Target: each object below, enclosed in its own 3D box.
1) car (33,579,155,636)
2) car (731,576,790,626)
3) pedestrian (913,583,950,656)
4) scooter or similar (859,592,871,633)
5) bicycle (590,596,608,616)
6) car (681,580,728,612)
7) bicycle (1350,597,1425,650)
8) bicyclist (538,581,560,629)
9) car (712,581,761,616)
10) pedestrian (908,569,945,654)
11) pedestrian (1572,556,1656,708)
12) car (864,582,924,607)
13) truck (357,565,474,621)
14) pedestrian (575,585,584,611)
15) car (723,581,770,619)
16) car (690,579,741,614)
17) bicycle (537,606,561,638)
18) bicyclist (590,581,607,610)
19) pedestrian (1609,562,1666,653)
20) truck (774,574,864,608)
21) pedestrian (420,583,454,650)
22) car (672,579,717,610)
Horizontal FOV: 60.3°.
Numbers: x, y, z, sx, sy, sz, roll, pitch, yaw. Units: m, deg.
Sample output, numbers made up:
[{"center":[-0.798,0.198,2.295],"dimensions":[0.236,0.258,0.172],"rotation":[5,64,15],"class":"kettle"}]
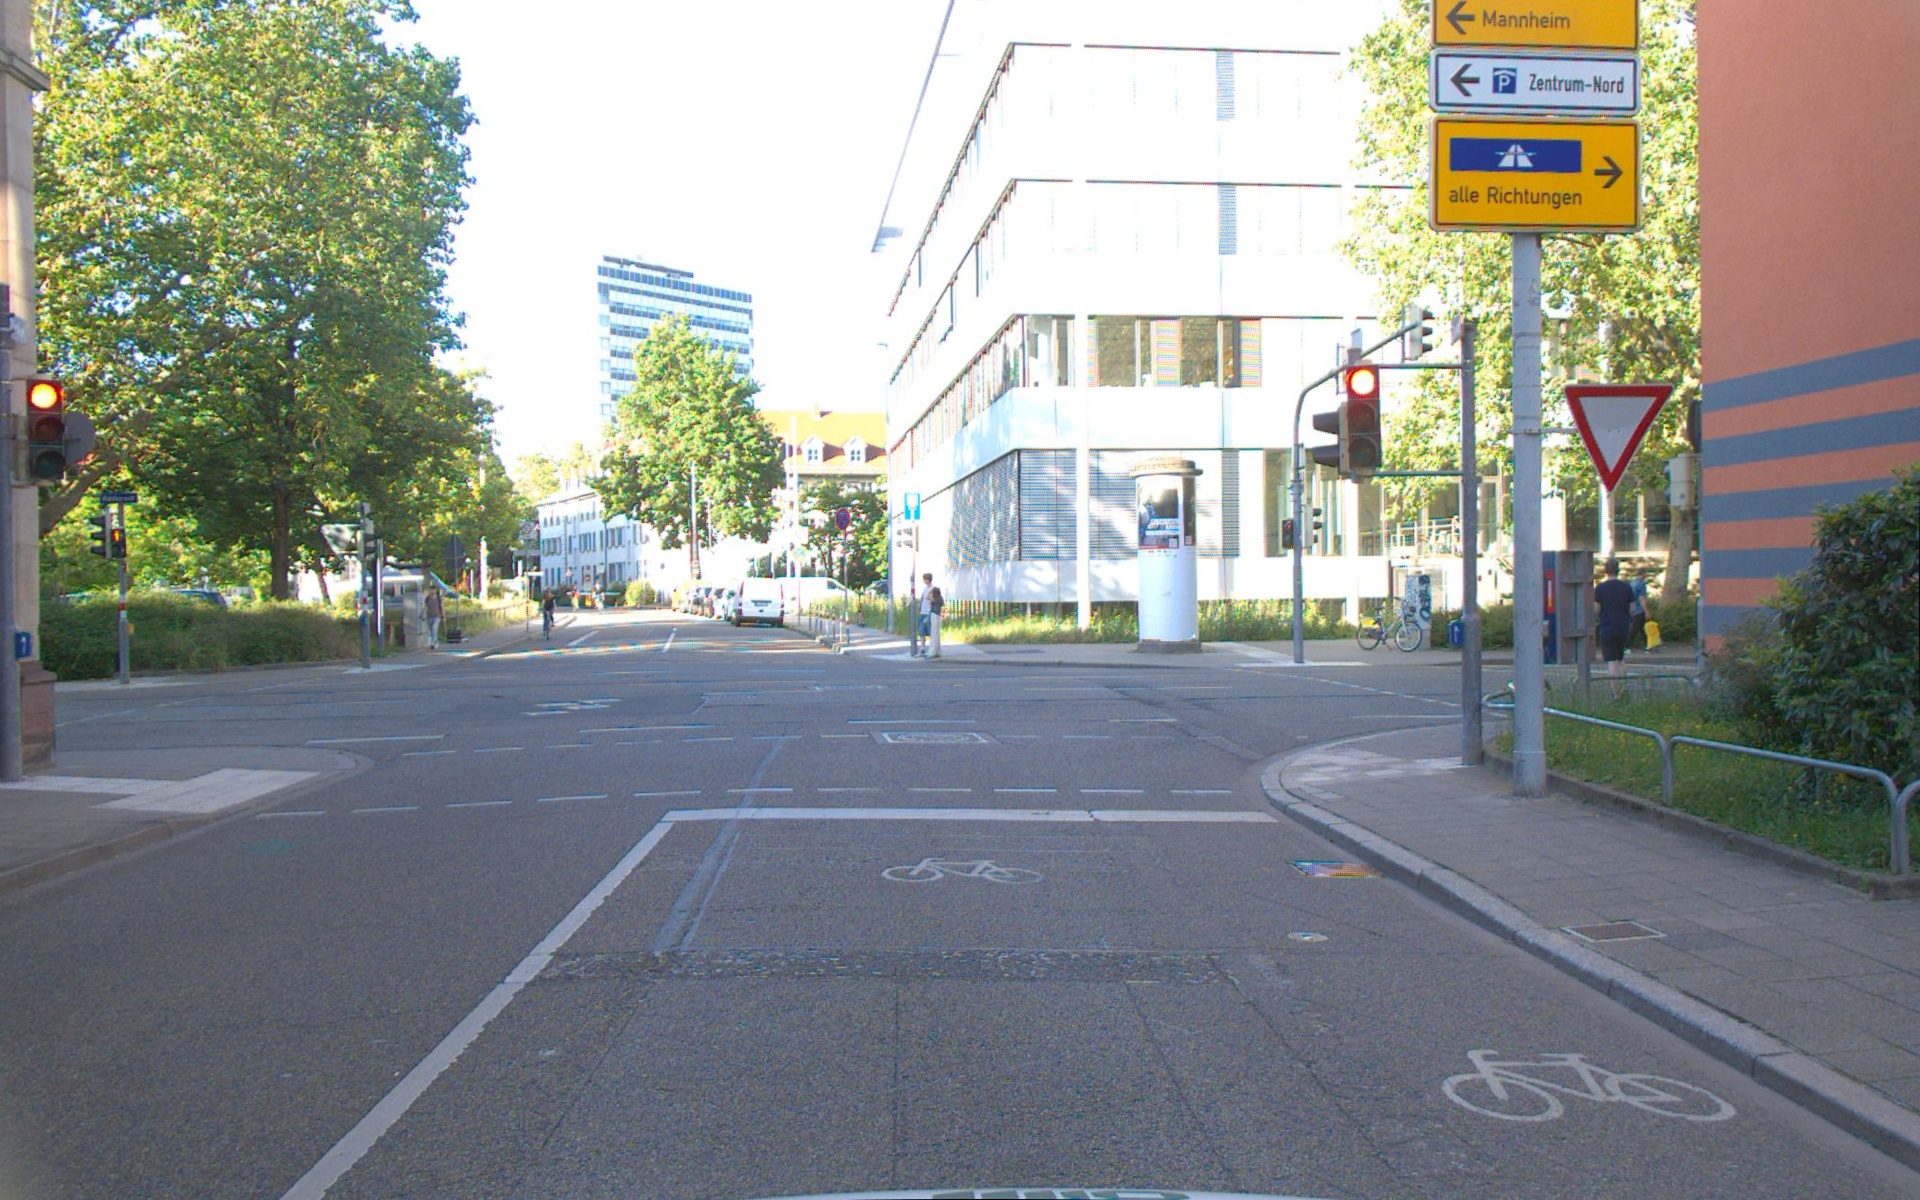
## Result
[{"center":[-39.975,0.330,76.459],"dimensions":[4.472,2.433,2.069],"rotation":[-2,0,-10],"class":"car"},{"center":[-7.840,-0.008,64.593],"dimensions":[2.047,1.827,4.404],"rotation":[0,1,-10],"class":"car"},{"center":[-0.645,0.433,37.203],"dimensions":[0.551,1.567,0.673],"rotation":[-4,1,-19],"class":"pedestrian"},{"center":[-3.364,0.441,58.529],"dimensions":[0.324,1.449,1.333],"rotation":[1,0,-6],"class":"scooter or similar"},{"center":[-20.575,0.340,94.252],"dimensions":[0.850,1.027,2.408],"rotation":[-3,0,-11],"class":"bicycle"},{"center":[-14.003,-0.235,90.471],"dimensions":[1.860,1.684,4.391],"rotation":[0,1,-19],"class":"car"},{"center":[9.349,0.500,36.188],"dimensions":[0.503,1.067,1.667],"rotation":[-3,4,-35],"class":"bicycle"},{"center":[-13.460,0.150,54.168],"dimensions":[0.604,1.559,0.901],"rotation":[-1,0,-9],"class":"bicyclist"},{"center":[-10.608,-0.098,78.169],"dimensions":[1.856,1.582,4.400],"rotation":[0,1,-14],"class":"car"},{"center":[-0.760,0.267,37.807],"dimensions":[0.547,1.882,0.678],"rotation":[-3,1,15],"class":"pedestrian"},{"center":[8.253,0.395,20.897],"dimensions":[0.692,1.872,0.837],"rotation":[1,0,-1],"class":"pedestrian"},{"center":[-4.162,-0.341,104.197],"dimensions":[3.502,1.573,1.549],"rotation":[-1,0,-20],"class":"car"},{"center":[-24.563,-0.326,74.775],"dimensions":[4.741,2.441,2.082],"rotation":[0,1,-11],"class":"truck"},{"center":[-24.005,-0.125,104.453],"dimensions":[0.428,1.636,0.488],"rotation":[-1,0,-27],"class":"pedestrian"},{"center":[-9.440,-0.023,72.816],"dimensions":[1.854,1.582,4.404],"rotation":[0,1,-10],"class":"car"},{"center":[-12.672,-0.221,85.387],"dimensions":[1.860,1.684,4.391],"rotation":[0,1,-19],"class":"car"},{"center":[-13.450,0.701,54.162],"dimensions":[0.604,0.986,1.837],"rotation":[-1,1,-9],"class":"bicycle"},{"center":[-20.601,-0.255,94.266],"dimensions":[0.850,1.541,1.016],"rotation":[-3,0,-11],"class":"bicyclist"},{"center":[14.183,0.147,34.632],"dimensions":[0.819,1.872,0.707],"rotation":[1,0,-11],"class":"pedestrian"},{"center":[-8.776,-0.557,102.942],"dimensions":[5.258,2.049,1.989],"rotation":[-1,0,-20],"class":"truck"},{"center":[-14.101,0.446,44.586],"dimensions":[0.690,1.753,0.952],"rotation":[-2,0,-10],"class":"pedestrian"},{"center":[-15.345,-0.333,95.283],"dimensions":[1.860,1.684,4.391],"rotation":[0,1,-19],"class":"car"}]
